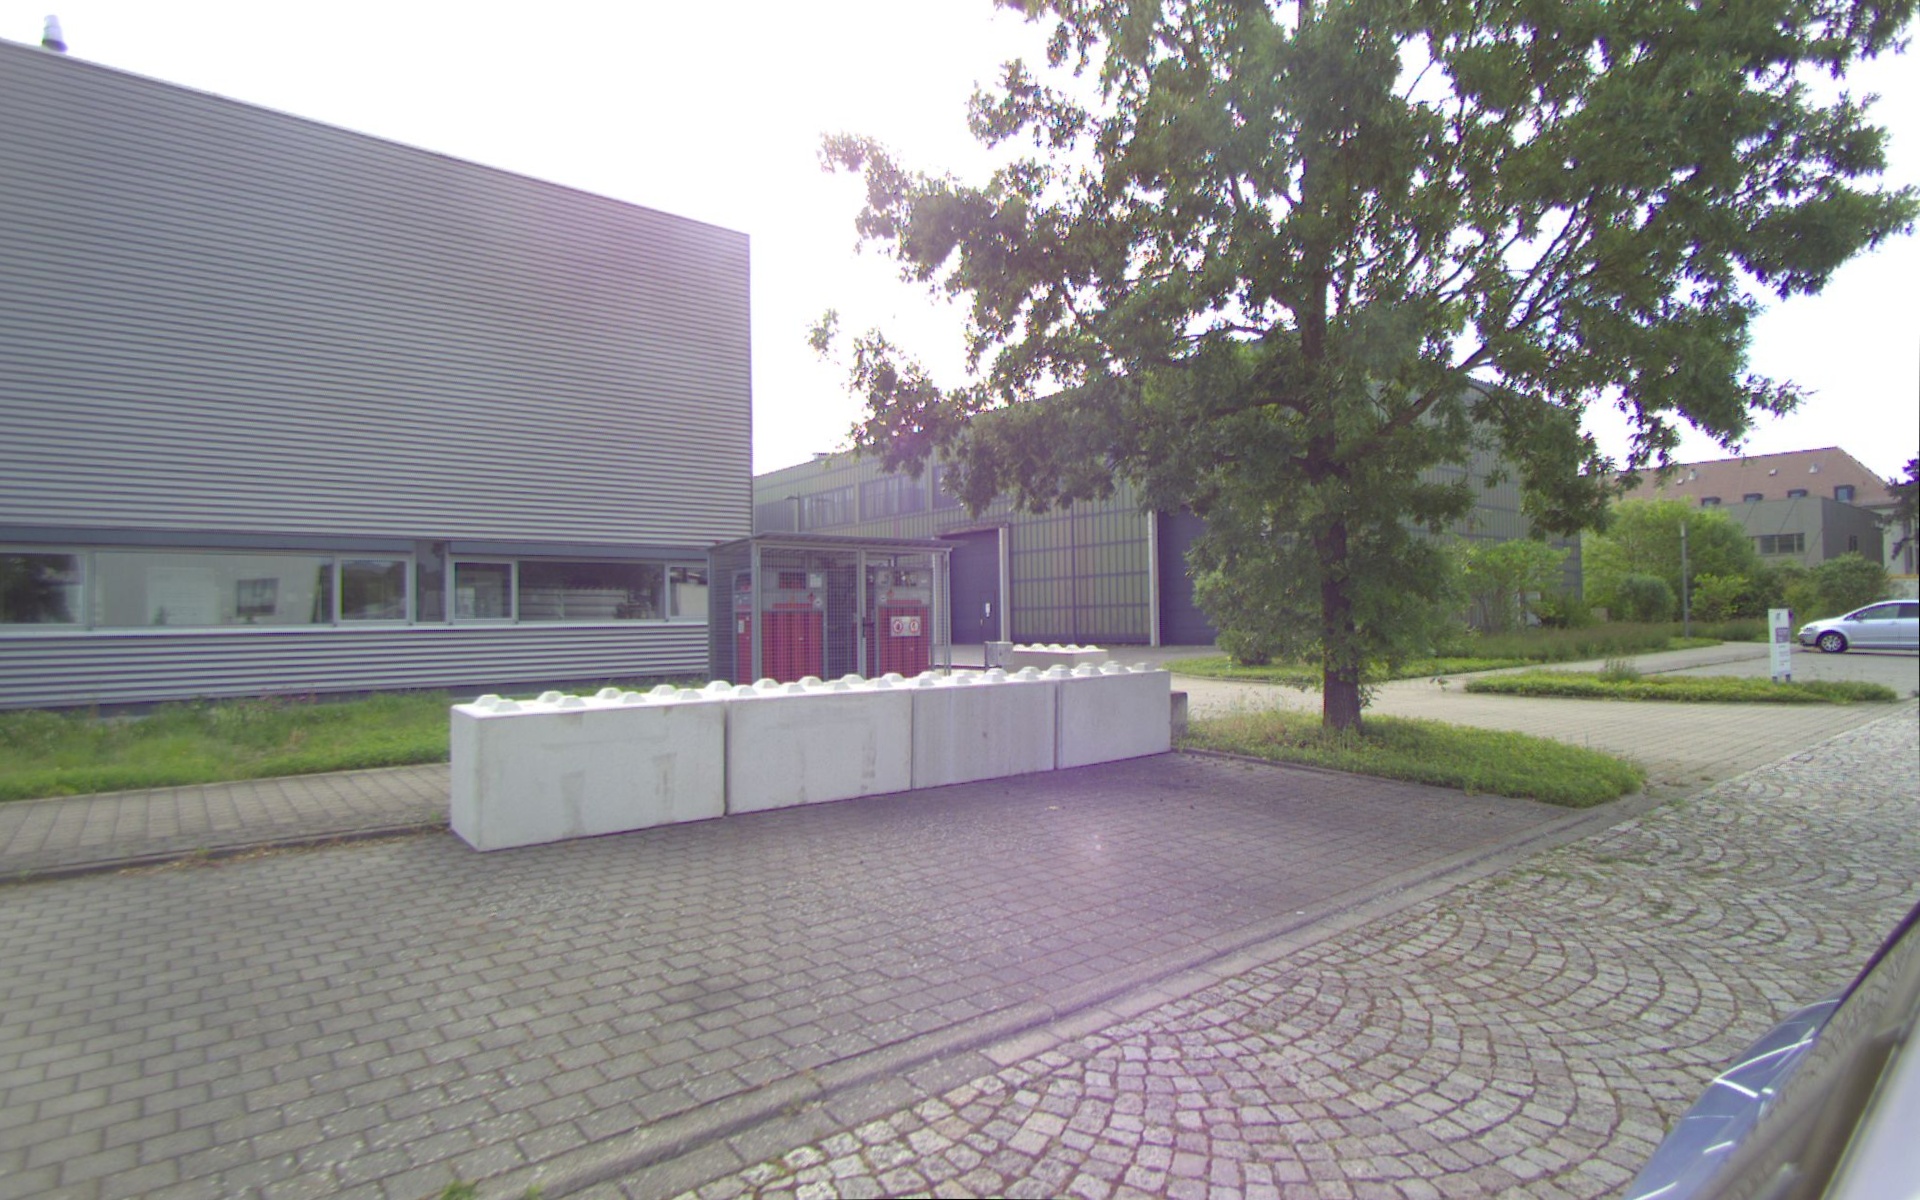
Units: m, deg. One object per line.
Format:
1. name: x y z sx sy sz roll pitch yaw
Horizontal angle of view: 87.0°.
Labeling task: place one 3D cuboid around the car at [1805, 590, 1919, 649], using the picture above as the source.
1. car: 27.127 0.529 29.094 1.906 1.645 4.127 -1 0 -41
